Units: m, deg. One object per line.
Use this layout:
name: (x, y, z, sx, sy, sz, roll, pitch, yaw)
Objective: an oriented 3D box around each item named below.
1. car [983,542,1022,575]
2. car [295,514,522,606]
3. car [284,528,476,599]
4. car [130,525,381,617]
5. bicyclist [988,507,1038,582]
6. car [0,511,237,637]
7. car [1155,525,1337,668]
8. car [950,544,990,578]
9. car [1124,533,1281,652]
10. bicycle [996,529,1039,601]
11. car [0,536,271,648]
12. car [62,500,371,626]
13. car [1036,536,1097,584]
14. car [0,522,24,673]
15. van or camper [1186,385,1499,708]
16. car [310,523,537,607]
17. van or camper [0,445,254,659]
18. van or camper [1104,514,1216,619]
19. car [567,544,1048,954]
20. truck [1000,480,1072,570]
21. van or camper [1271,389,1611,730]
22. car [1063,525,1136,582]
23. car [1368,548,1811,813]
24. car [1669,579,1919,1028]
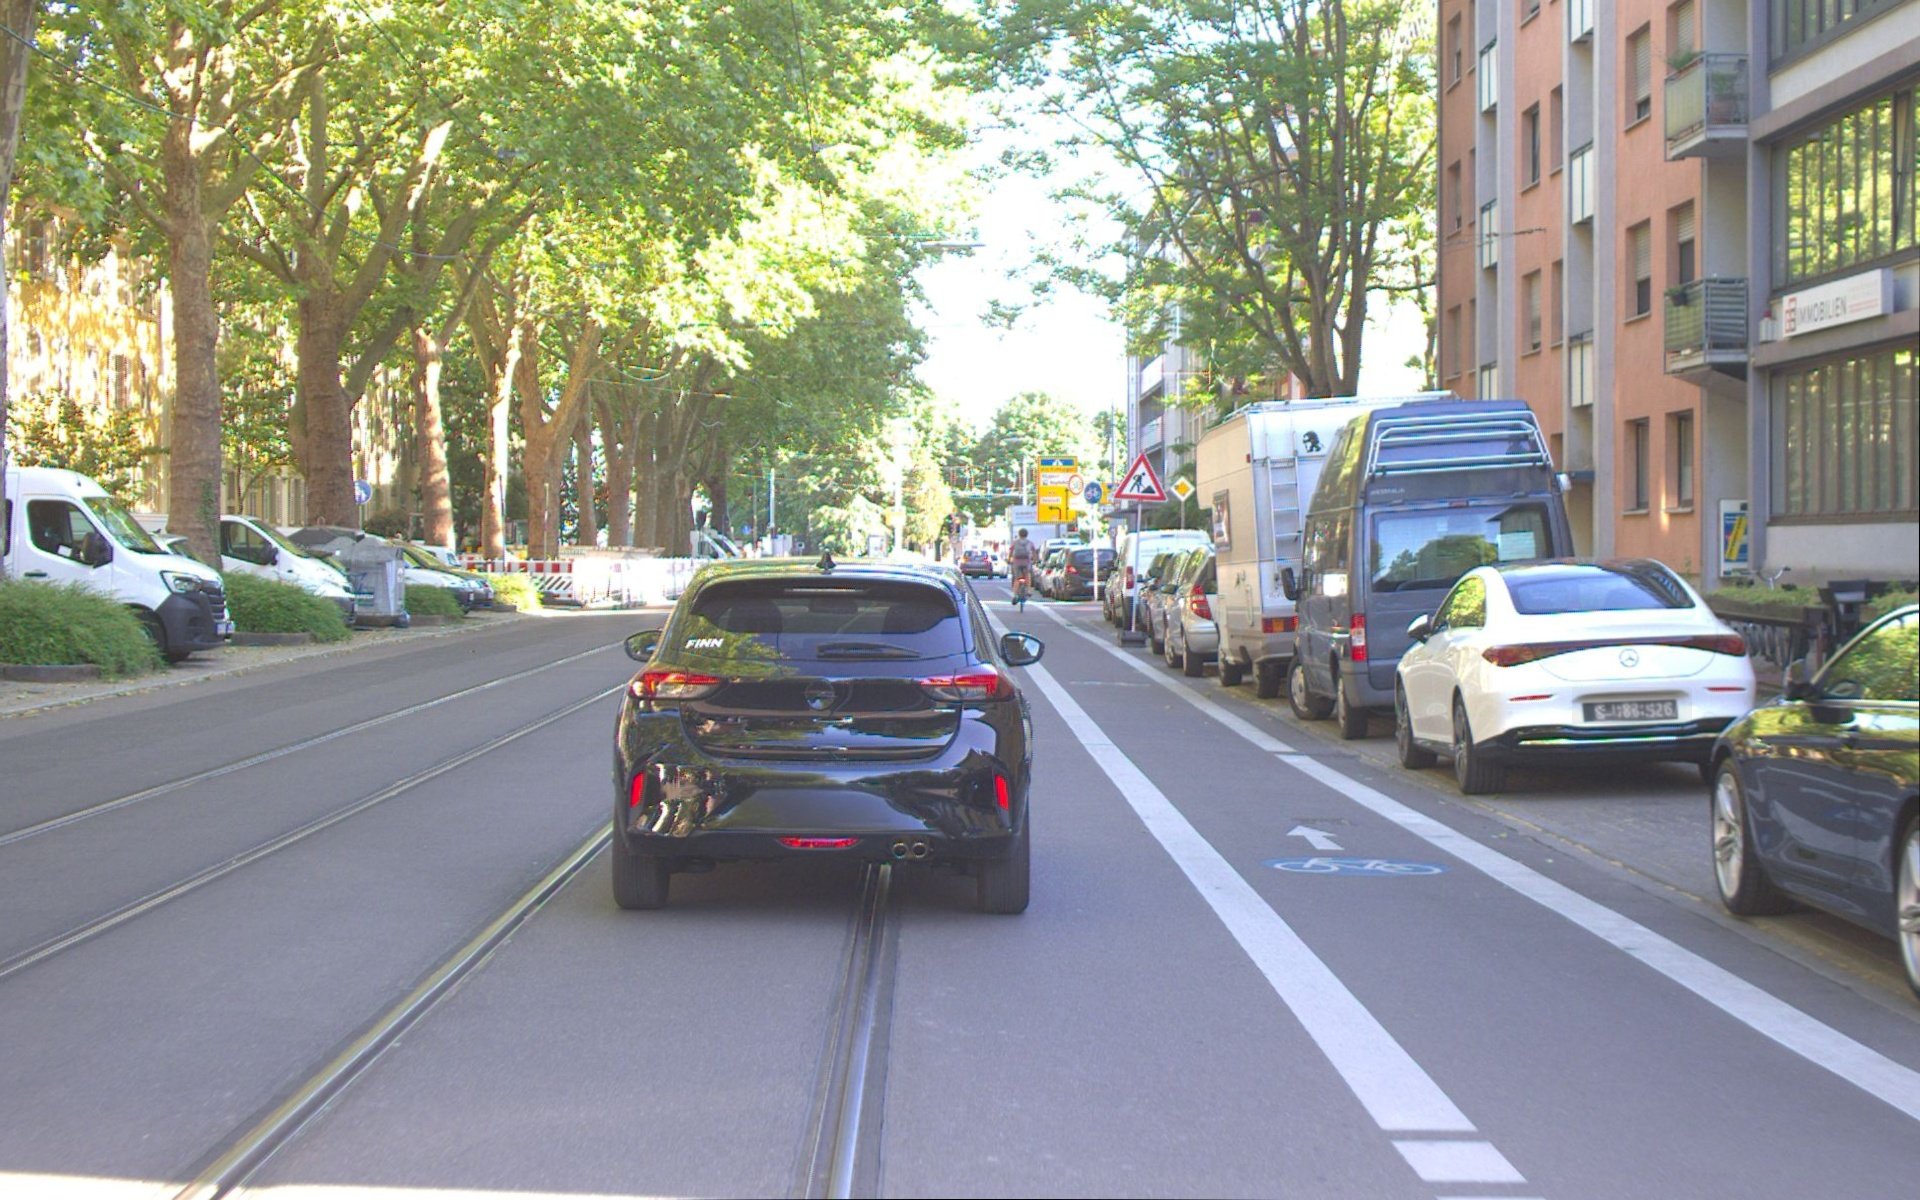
car: (2.310, -2.305, 188.665, 1.993, 1.690, 4.740, -2, 1, -1)
car: (-10.920, -0.809, 68.239, 4.198, 1.751, 1.740, 1, 1, 1)
car: (-12.603, -0.812, 74.819, 3.847, 1.492, 1.862, 0, 1, 0)
car: (-11.881, -0.507, 58.164, 3.847, 1.492, 1.862, 0, 1, 0)
bicyclist: (1.191, -1.251, 77.134, 1.089, 1.641, 1.400, 1, 1, 0)
car: (-11.920, -0.359, 46.557, 3.847, 1.657, 1.862, 0, 1, 0)
car: (3.488, -0.088, 42.591, 1.793, 1.622, 4.277, -2, 1, -1)
car: (0.494, -2.051, 180.834, 1.993, 1.690, 4.740, -2, 1, -1)
car: (3.326, -0.146, 47.939, 1.788, 1.517, 4.322, -2, 1, -1)
bicycle: (1.278, -0.796, 76.970, 0.916, 1.555, 3.405, 1, 1, 0)
car: (-11.232, -0.114, 44.454, 4.264, 1.394, 1.753, 0, 1, 0)
car: (-11.861, -0.603, 55.097, 4.656, 1.938, 1.962, 0, 1, -6)
car: (3.285, -1.251, 106.805, 1.659, 1.394, 4.740, -2, 1, -1)
car: (-11.740, -0.046, 35.497, 3.682, 1.559, 1.613, 1, 1, 3)
van or camper: (3.917, -0.584, 36.511, 2.462, 3.053, 6.269, -2, 1, -1)
car: (-10.999, -0.730, 70.629, 4.235, 1.682, 1.933, 0, 1, 7)
van or camper: (-11.608, -0.614, 42.094, 5.389, 2.507, 2.445, 1, 1, 2)
van or camper: (3.698, -0.657, 64.161, 1.755, 1.858, 4.831, 0, 1, 0)
car: (-0.594, 0.525, 14.844, 1.781, 1.491, 4.000, 1, 1, -1)
truck: (2.953, -2.933, 135.398, 2.538, 3.326, 7.195, -3, 1, 0)
van or camper: (4.070, -0.377, 29.977, 2.132, 2.654, 4.980, -2, 1, -1)
car: (3.783, -1.278, 93.443, 1.733, 1.457, 3.916, -2, 1, -1)
car: (4.052, 0.447, 22.942, 1.993, 1.488, 4.740, -2, 1, -1)
car: (4.100, 0.653, 12.454, 1.993, 1.376, 4.740, -2, 1, -1)
